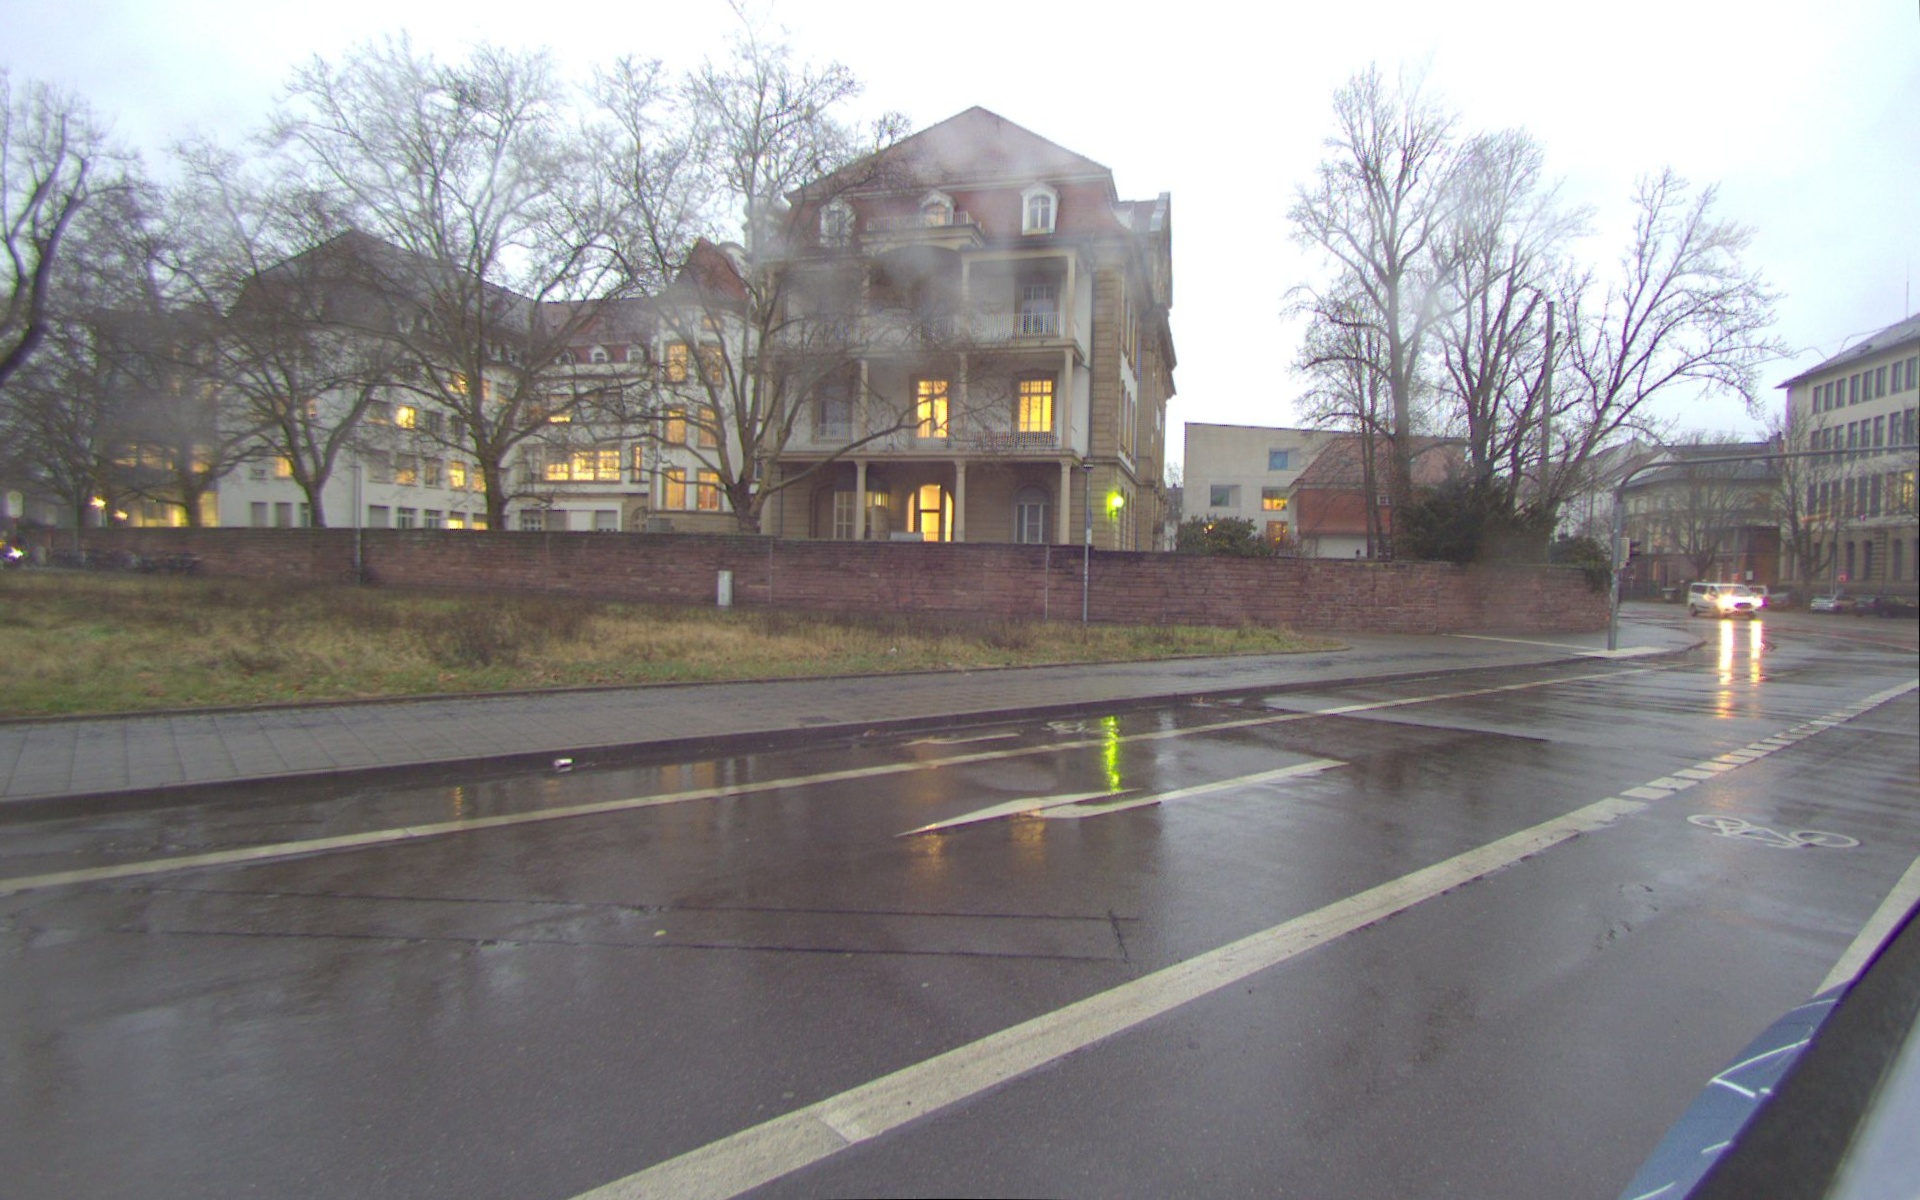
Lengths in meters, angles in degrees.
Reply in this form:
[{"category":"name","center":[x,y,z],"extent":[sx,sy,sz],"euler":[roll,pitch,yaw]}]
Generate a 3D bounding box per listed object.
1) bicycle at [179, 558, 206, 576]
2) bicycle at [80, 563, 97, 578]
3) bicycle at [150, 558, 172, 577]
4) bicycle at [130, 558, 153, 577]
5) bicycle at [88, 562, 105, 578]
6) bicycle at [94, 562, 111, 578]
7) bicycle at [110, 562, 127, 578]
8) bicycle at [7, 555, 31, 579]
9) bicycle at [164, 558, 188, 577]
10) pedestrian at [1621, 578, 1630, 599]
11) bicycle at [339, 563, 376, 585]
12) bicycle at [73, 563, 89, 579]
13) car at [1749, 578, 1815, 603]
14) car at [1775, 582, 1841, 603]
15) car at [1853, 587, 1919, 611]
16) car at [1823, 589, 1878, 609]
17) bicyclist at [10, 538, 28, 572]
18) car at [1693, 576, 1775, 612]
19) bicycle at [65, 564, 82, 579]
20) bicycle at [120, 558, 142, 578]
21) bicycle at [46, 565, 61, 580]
[{"category":"bicycle","center":[-34.208,-1.469,45.108],"extent":[1.399,0.796,0.355],"euler":[0,0,26]},{"category":"bicycle","center":[-45.439,-1.533,52.739],"extent":[1.522,0.796,0.389],"euler":[0,0,38]},{"category":"bicycle","center":[-37.028,-1.498,46.883],"extent":[1.480,0.849,0.346],"euler":[0,0,32]},{"category":"bicycle","center":[-38.624,-1.508,47.766],"extent":[1.519,0.869,0.389],"euler":[0,0,33]},{"category":"bicycle","center":[-44.176,-1.530,51.766],"extent":[1.522,0.796,0.389],"euler":[0,0,38]},{"category":"bicycle","center":[-43.128,-1.496,50.895],"extent":[1.522,0.796,0.389],"euler":[0,0,38]},{"category":"bicycle","center":[-41.471,-1.477,49.874],"extent":[1.599,0.796,0.388],"euler":[0,0,41]},{"category":"bicycle","center":[-46.860,-1.633,50.391],"extent":[1.670,1.182,0.603],"euler":[0,0,37]},{"category":"bicycle","center":[-35.548,-1.469,45.858],"extent":[1.519,0.796,0.389],"euler":[0,0,33]},{"category":"pedestrian","center":[68.395,-1.188,103.947],"extent":[0.539,2.038,0.473],"euler":[2,2,15]},{"category":"bicycle","center":[-23.382,-0.988,39.269],"extent":[1.366,0.835,0.392],"euler":[0,0,14]},{"category":"bicycle","center":[-46.670,-1.536,53.717],"extent":[1.522,0.796,0.389],"euler":[0,0,38]},{"category":"car","center":[64.984,-0.790,80.022],"extent":[3.916,1.924,2.052],"euler":[0,0,-13]},{"category":"car","center":[64.702,-0.585,77.224],"extent":[3.916,1.570,1.805],"euler":[0,0,-13]},{"category":"car","center":[61.965,-0.060,67.005],"extent":[3.927,1.570,1.800],"euler":[0,0,4]},{"category":"car","center":[63.605,-0.081,72.299],"extent":[3.568,1.322,1.712],"euler":[-1,0,-25]},{"category":"bicyclist","center":[-46.867,-2.253,50.400],"extent":[0.450,1.662,0.603],"euler":[0,0,37]},{"category":"car","center":[45.833,-0.389,60.040],"extent":[1.970,2.039,4.872],"euler":[0,0,13]},{"category":"bicycle","center":[-47.893,-1.539,54.672],"extent":[1.522,0.796,0.389],"euler":[0,0,38]},{"category":"bicycle","center":[-39.906,-1.540,48.720],"extent":[1.519,0.928,0.389],"euler":[0,0,33]},{"category":"bicycle","center":[-51.606,-1.547,57.591],"extent":[1.522,0.796,0.389],"euler":[0,0,38]}]
